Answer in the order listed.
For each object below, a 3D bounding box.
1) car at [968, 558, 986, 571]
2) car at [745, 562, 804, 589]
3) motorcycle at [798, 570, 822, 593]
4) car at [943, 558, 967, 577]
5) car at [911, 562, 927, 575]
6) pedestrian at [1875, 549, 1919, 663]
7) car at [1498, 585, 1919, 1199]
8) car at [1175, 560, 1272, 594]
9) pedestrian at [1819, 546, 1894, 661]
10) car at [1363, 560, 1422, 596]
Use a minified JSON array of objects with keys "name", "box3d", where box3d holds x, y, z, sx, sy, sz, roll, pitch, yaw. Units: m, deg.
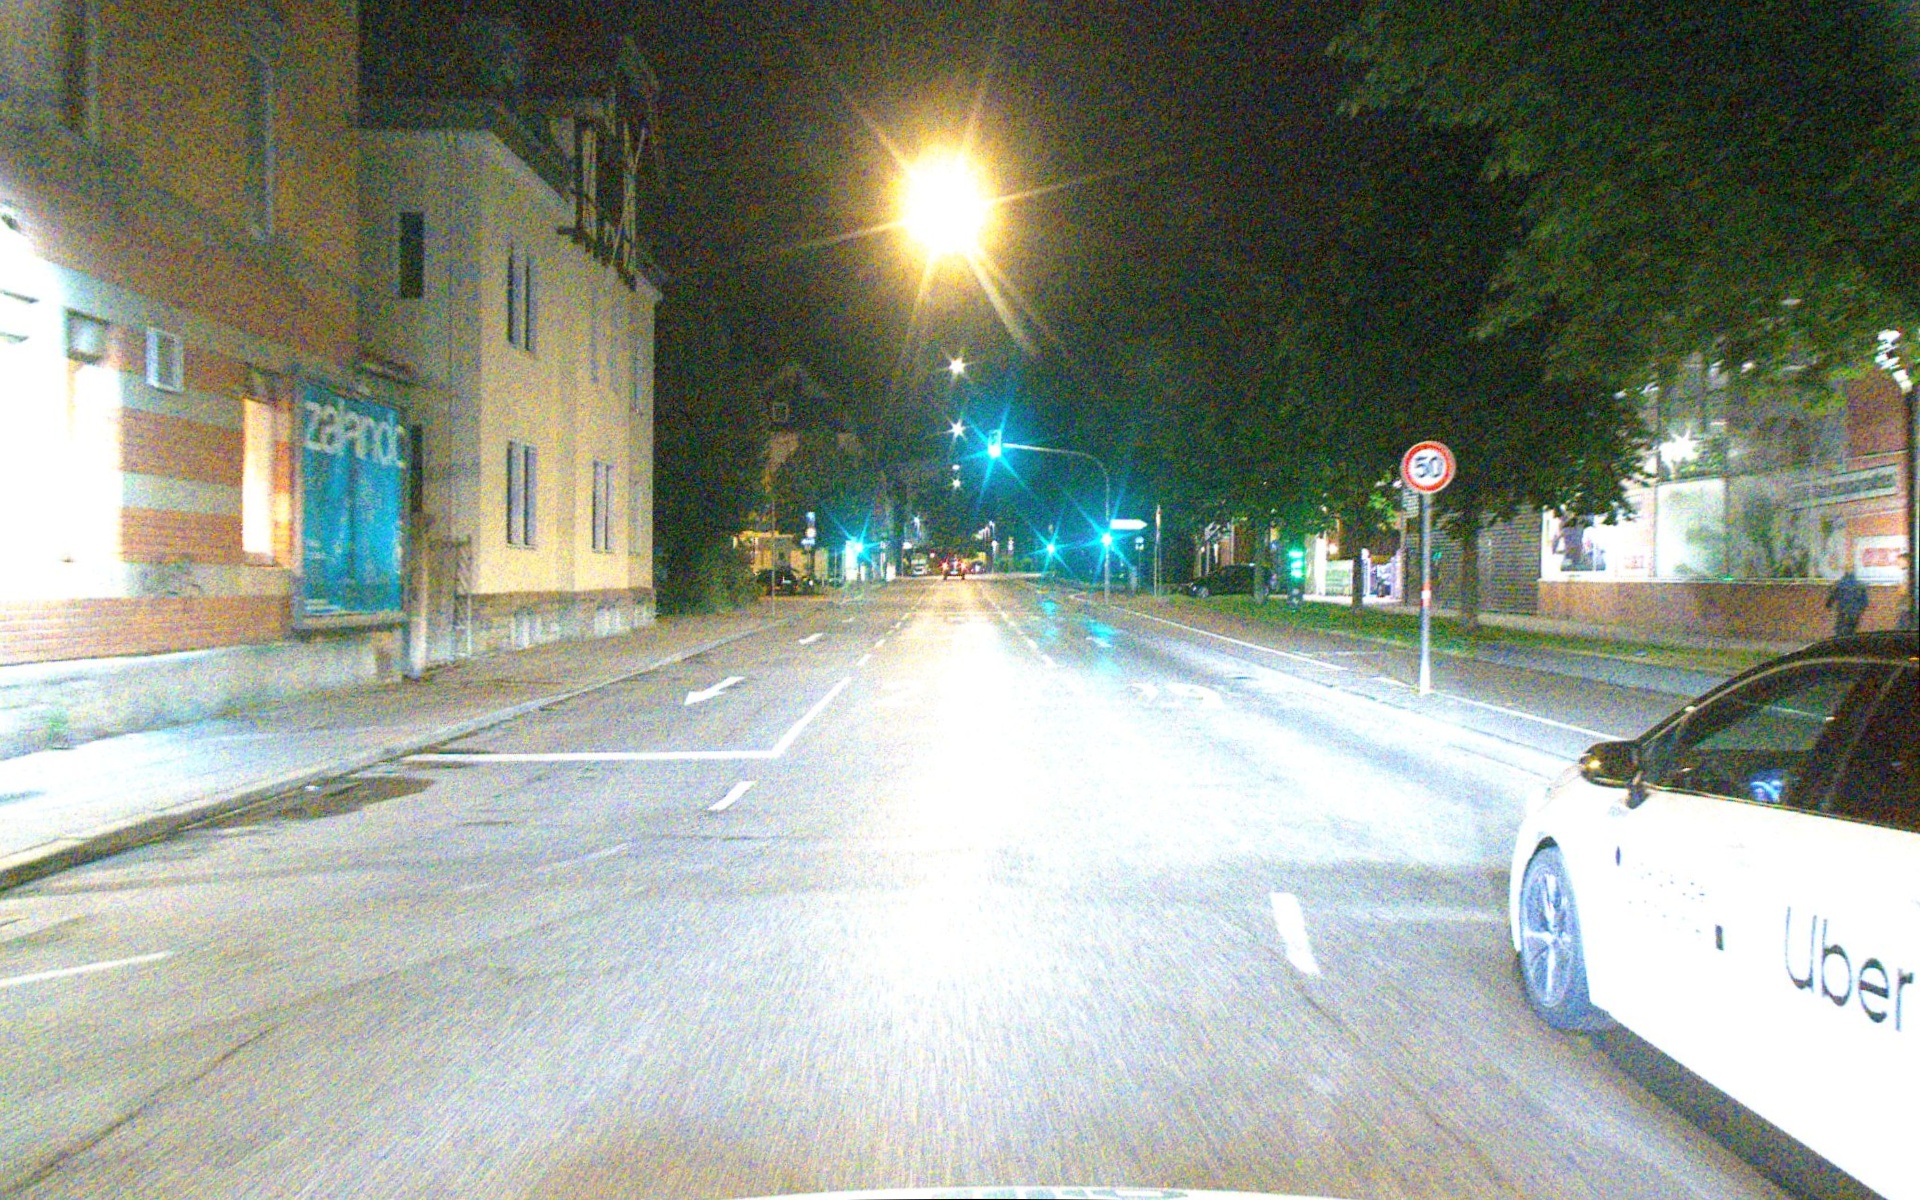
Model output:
[{"name":"car","box3d":[1.985,-4.244,198.014,1.954,1.624,3.998,0,1,-3]},{"name":"car","box3d":[-10.410,-1.375,92.433,1.786,1.512,3.957,-1,1,-32]},{"name":"motorcycle","box3d":[-8.137,-1.006,89.712,0.769,1.225,2.436,-1,1,-19]},{"name":"car","box3d":[-0.463,-2.813,143.819,1.953,1.668,3.999,0,1,-2]},{"name":"car","box3d":[-4.540,-3.493,183.355,1.742,1.414,3.999,-1,1,-2]},{"name":"pedestrian","box3d":[15.250,0.085,26.467,0.723,1.799,0.907,-1,1,-1]},{"name":"car","box3d":[2.924,0.735,4.212,1.694,1.460,4.211,2,1,0]},{"name":"car","box3d":[11.275,-0.986,70.981,3.904,1.410,1.772,0,1,2]},{"name":"pedestrian","box3d":[14.318,0.046,26.440,0.699,1.799,0.907,-1,1,-1]},{"name":"car","box3d":[18.945,-0.975,72.554,1.541,1.513,3.831,-1,1,-1]}]
